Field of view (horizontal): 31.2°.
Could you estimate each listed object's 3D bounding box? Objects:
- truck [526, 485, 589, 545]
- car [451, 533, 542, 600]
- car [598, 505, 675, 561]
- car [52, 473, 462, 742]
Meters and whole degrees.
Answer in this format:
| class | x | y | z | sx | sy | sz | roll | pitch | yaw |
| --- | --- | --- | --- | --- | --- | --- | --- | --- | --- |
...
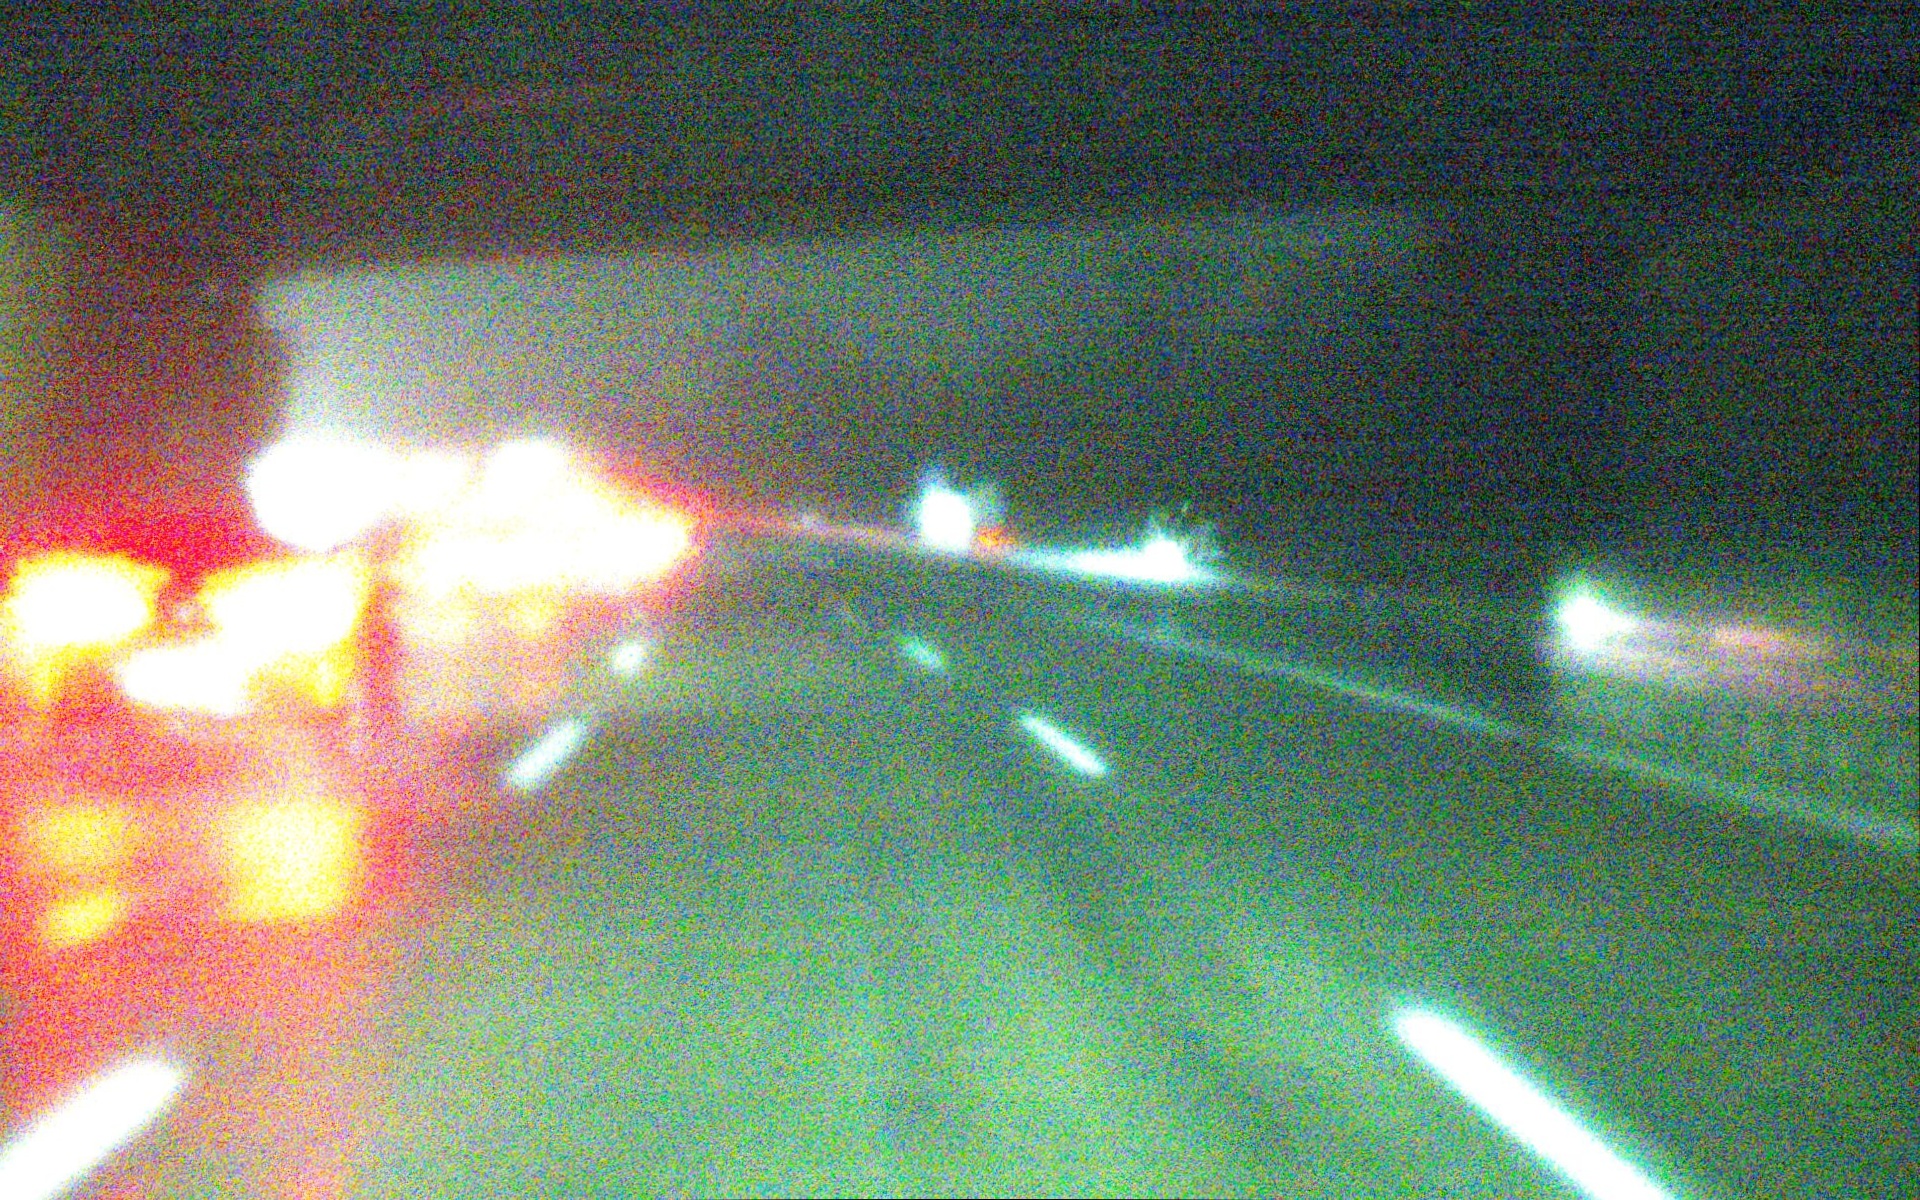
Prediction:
| class | x | y | z | sx | sy | sz | roll | pitch | yaw |
| --- | --- | --- | --- | --- | --- | --- | --- | --- | --- |
| truck | -21.058 | -4.438 | 179.709 | 1.993 | 3.032 | 6.467 | 1 | 1 | -18 |
| car | -8.919 | -0.656 | 66.295 | 1.662 | 1.232 | 3.762 | 1 | 1 | -7 |
| car | -8.679 | -1.800 | 92.489 | 1.801 | 1.482 | 4.000 | 0 | 1 | -2 |
| car | -4.707 | 0.001 | 23.729 | 1.858 | 1.535 | 4.751 | 4 | 1 | -1 |
